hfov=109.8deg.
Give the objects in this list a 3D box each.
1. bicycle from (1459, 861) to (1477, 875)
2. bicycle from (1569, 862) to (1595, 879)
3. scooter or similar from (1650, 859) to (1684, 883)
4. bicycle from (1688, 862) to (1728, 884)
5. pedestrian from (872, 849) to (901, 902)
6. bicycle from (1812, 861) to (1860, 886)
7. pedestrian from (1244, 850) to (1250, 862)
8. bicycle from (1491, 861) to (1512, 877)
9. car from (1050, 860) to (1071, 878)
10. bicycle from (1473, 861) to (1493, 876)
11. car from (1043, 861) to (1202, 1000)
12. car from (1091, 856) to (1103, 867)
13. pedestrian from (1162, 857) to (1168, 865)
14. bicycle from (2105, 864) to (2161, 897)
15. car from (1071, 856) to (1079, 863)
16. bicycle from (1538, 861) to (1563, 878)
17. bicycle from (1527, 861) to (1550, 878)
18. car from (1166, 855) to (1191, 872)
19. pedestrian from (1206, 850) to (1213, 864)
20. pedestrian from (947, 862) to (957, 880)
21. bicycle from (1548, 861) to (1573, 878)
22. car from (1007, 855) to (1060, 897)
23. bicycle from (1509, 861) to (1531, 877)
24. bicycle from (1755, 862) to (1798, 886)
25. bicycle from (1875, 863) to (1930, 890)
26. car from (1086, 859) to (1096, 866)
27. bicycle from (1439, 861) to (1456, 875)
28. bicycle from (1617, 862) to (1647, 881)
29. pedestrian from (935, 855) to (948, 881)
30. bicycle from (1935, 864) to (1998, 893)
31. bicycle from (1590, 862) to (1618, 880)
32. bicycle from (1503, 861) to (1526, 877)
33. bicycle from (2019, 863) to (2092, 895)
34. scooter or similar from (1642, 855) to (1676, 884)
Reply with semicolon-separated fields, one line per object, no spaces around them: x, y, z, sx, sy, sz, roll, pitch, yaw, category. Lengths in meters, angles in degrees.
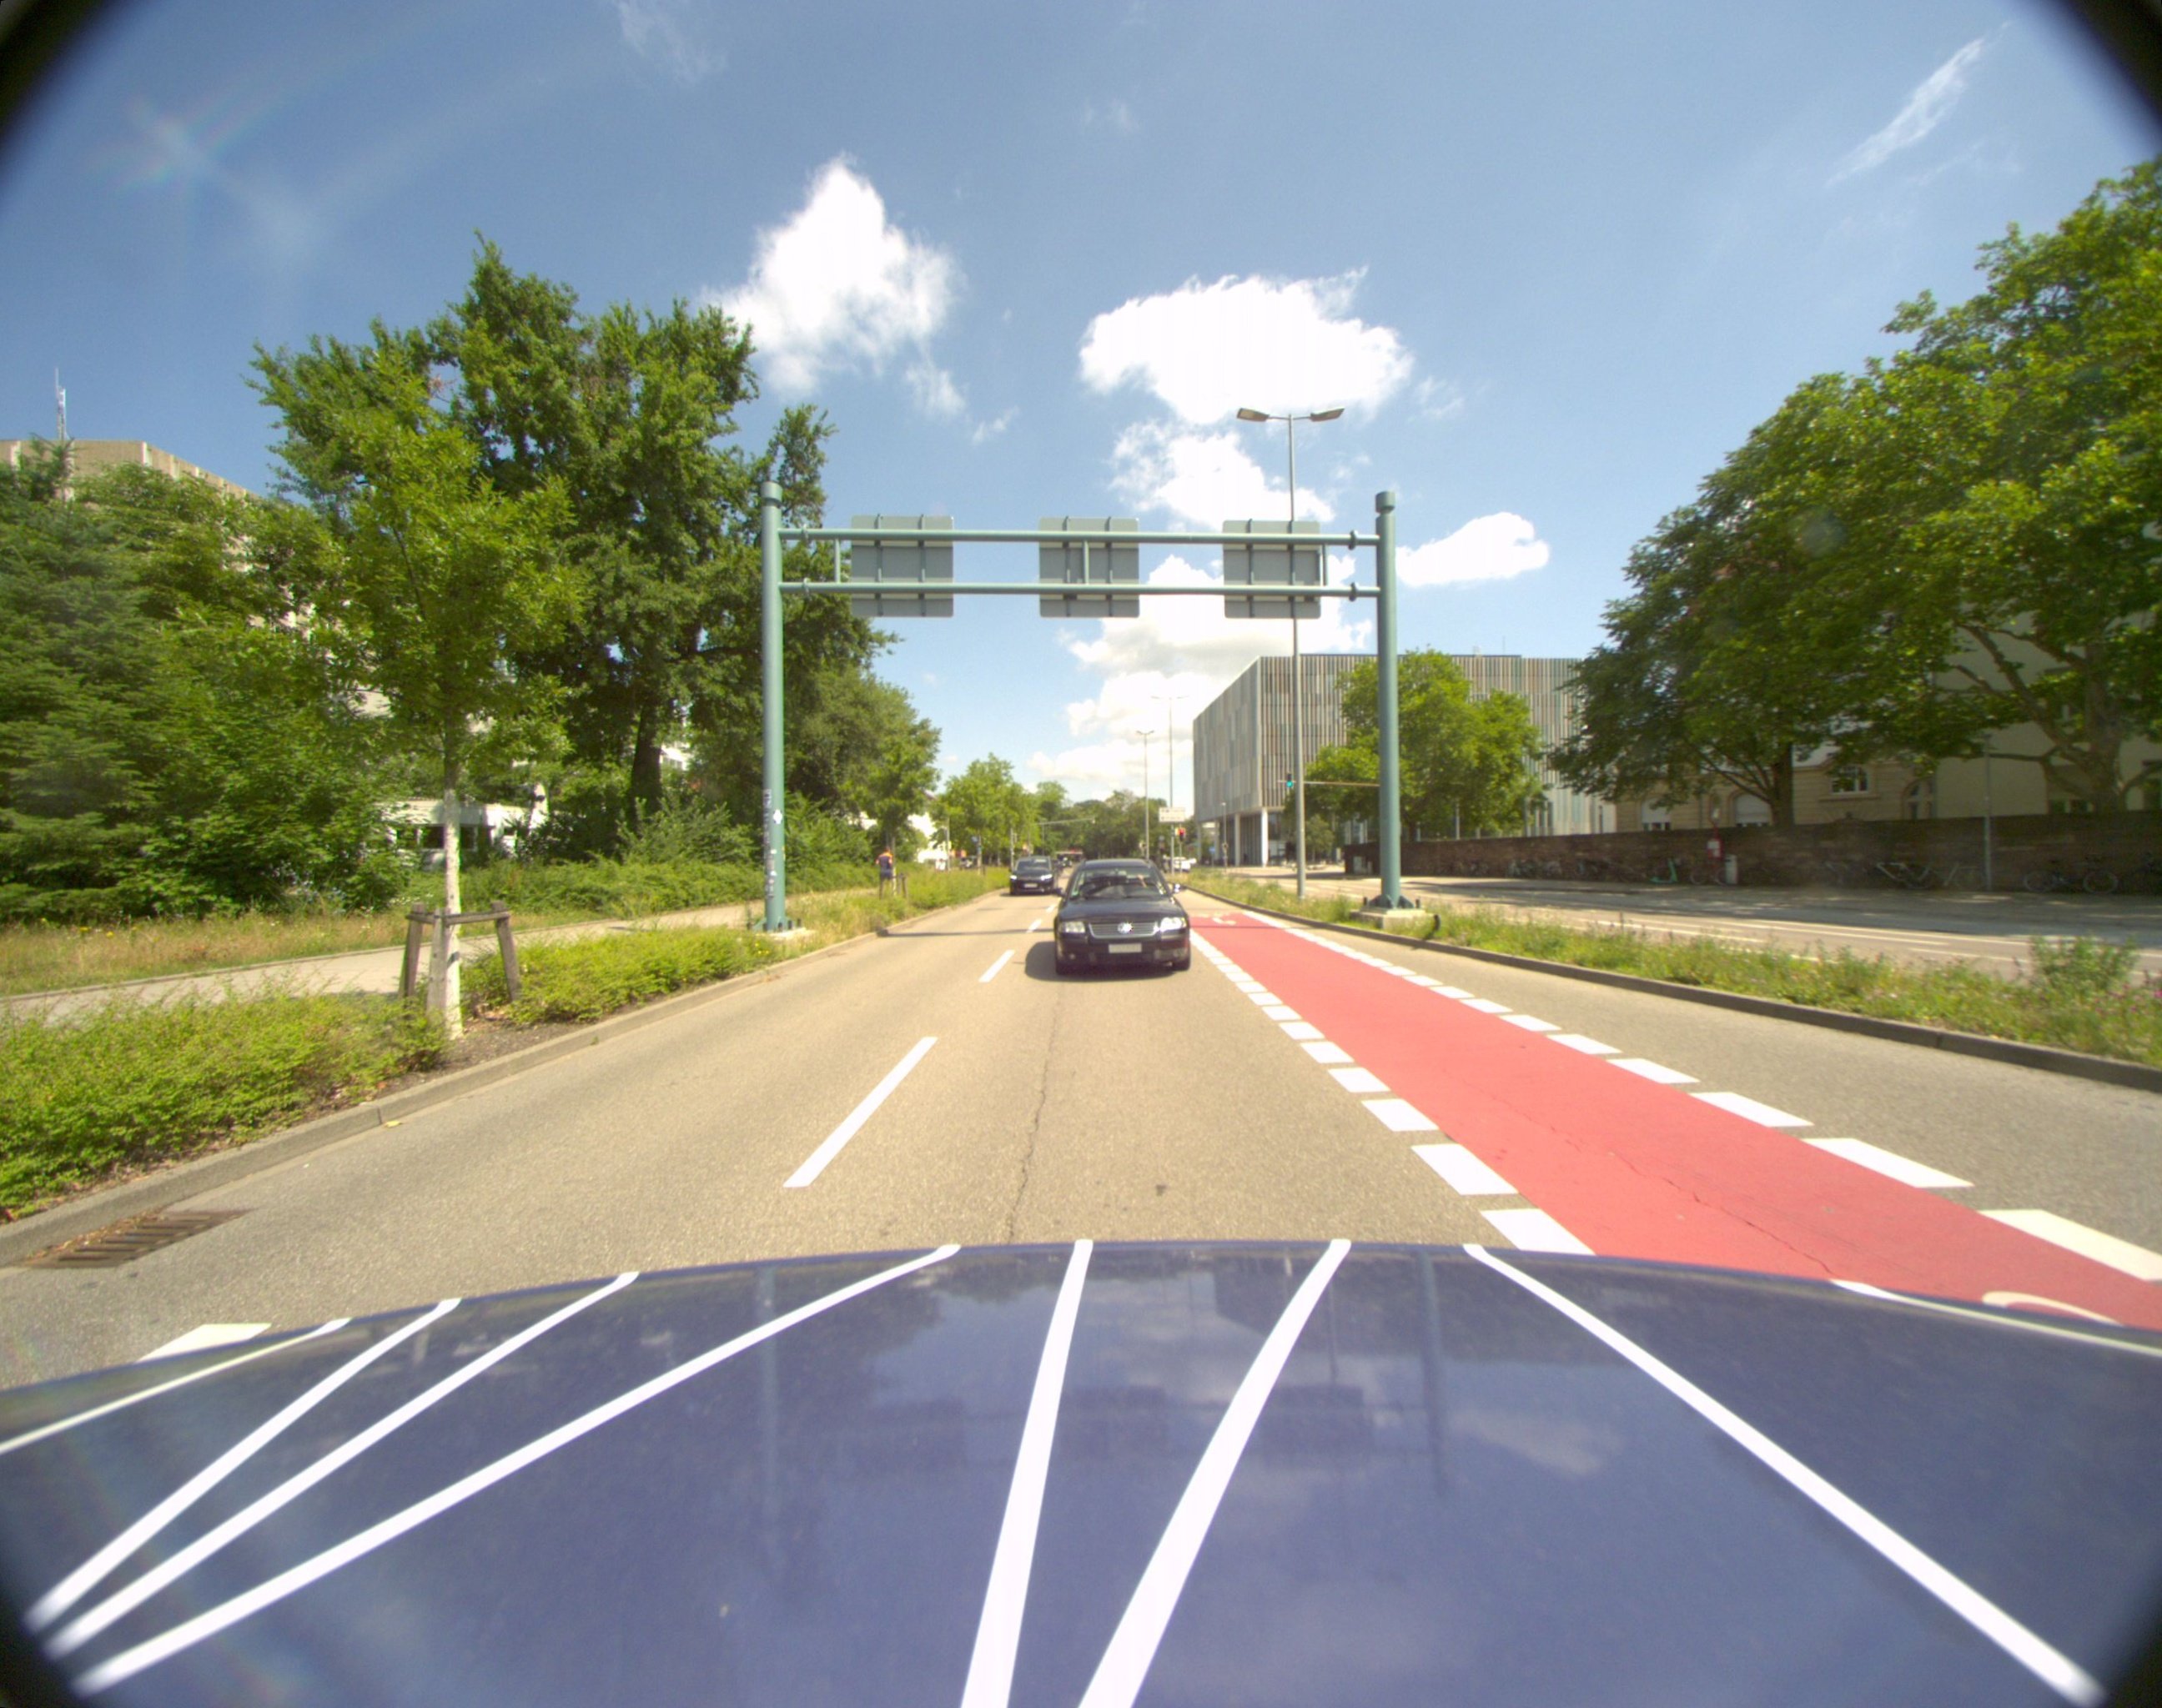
22.801;0.830;44.775;0.265;0.826;1.235;-1;0;-11;bicycle
23.873;0.778;36.211;0.265;0.826;1.235;-1;0;-11;bicycle
24.572;0.700;31.860;0.266;1.014;1.140;-1;0;-22;scooter or similar
24.816;0.738;30.090;0.265;0.826;1.233;-1;0;-21;bicycle
-6.506;0.707;25.394;0.639;1.754;0.887;-1;0;7;pedestrian
25.681;0.649;25.860;0.265;0.826;1.235;-1;0;-11;bicycle
27.302;0.288;125.066;0.864;2.002;0.995;-1;0;0;pedestrian
23.150;0.816;41.812;0.265;0.826;1.234;-1;0;-11;bicycle
-2.011;1.485;74.753;1.816;1.598;4.479;-3;0;1;car
22.992;0.812;43.453;0.265;0.826;1.234;-1;0;-11;bicycle
0.501;0.889;10.876;1.723;1.472;4.594;-3;0;1;car
2.413;1.176;116.237;1.723;1.545;4.594;-3;0;1;car
15.763;1.318;142.629;0.864;1.647;0.995;-1;0;-1;pedestrian
27.126;0.673;19.356;0.265;0.826;1.234;-1;0;-13;bicycle
-1.269;1.176;162.367;1.806;1.361;4.157;-1;1;1;car
23.182;0.748;37.536;0.265;0.826;1.234;-1;0;-11;bicycle
23.465;0.786;39.007;0.265;0.826;1.235;-1;0;-11;bicycle
10.058;0.939;78.604;1.999;1.701;4.512;-1;0;-1;car
18.506;0.386;109.580;0.864;2.002;0.995;-1;0;-1;pedestrian
-11.526;1.540;67.943;0.768;1.601;0.764;-1;0;-16;pedestrian
23.660;0.747;37.478;0.265;0.826;1.235;-1;0;-11;bicycle
-1.930;0.878;32.136;1.816;1.598;4.479;-3;0;1;car
23.356;0.788;40.417;0.265;0.826;1.234;-1;0;-11;bicycle
25.186;0.705;27.530;0.265;0.826;1.235;-1;0;-11;bicycle
25.993;0.698;24.052;0.265;0.826;1.235;-1;0;-11;bicycle
1.959;1.675;148.539;1.806;1.361;4.157;-1;1;1;car
22.486;0.842;46.658;0.265;0.826;1.235;-1;0;-11;bicycle
24.141;0.769;33.306;0.265;0.826;1.235;-1;0;-11;bicycle
-10.930;1.066;59.561;0.846;2.026;0.900;-1;0;-18;pedestrian
26.240;0.719;22.538;0.265;0.826;1.235;-1;0;-11;bicycle
24.040;0.781;34.935;0.265;0.826;1.235;-1;0;-11;bicycle
22.871;0.809;40.098;0.265;0.826;1.234;-1;0;-11;bicycle
26.626;0.667;20.780;0.265;0.826;1.234;-1;0;-13;bicycle
23.775;0.622;31.290;0.265;1.182;1.234;-1;0;-11;scooter or similar
